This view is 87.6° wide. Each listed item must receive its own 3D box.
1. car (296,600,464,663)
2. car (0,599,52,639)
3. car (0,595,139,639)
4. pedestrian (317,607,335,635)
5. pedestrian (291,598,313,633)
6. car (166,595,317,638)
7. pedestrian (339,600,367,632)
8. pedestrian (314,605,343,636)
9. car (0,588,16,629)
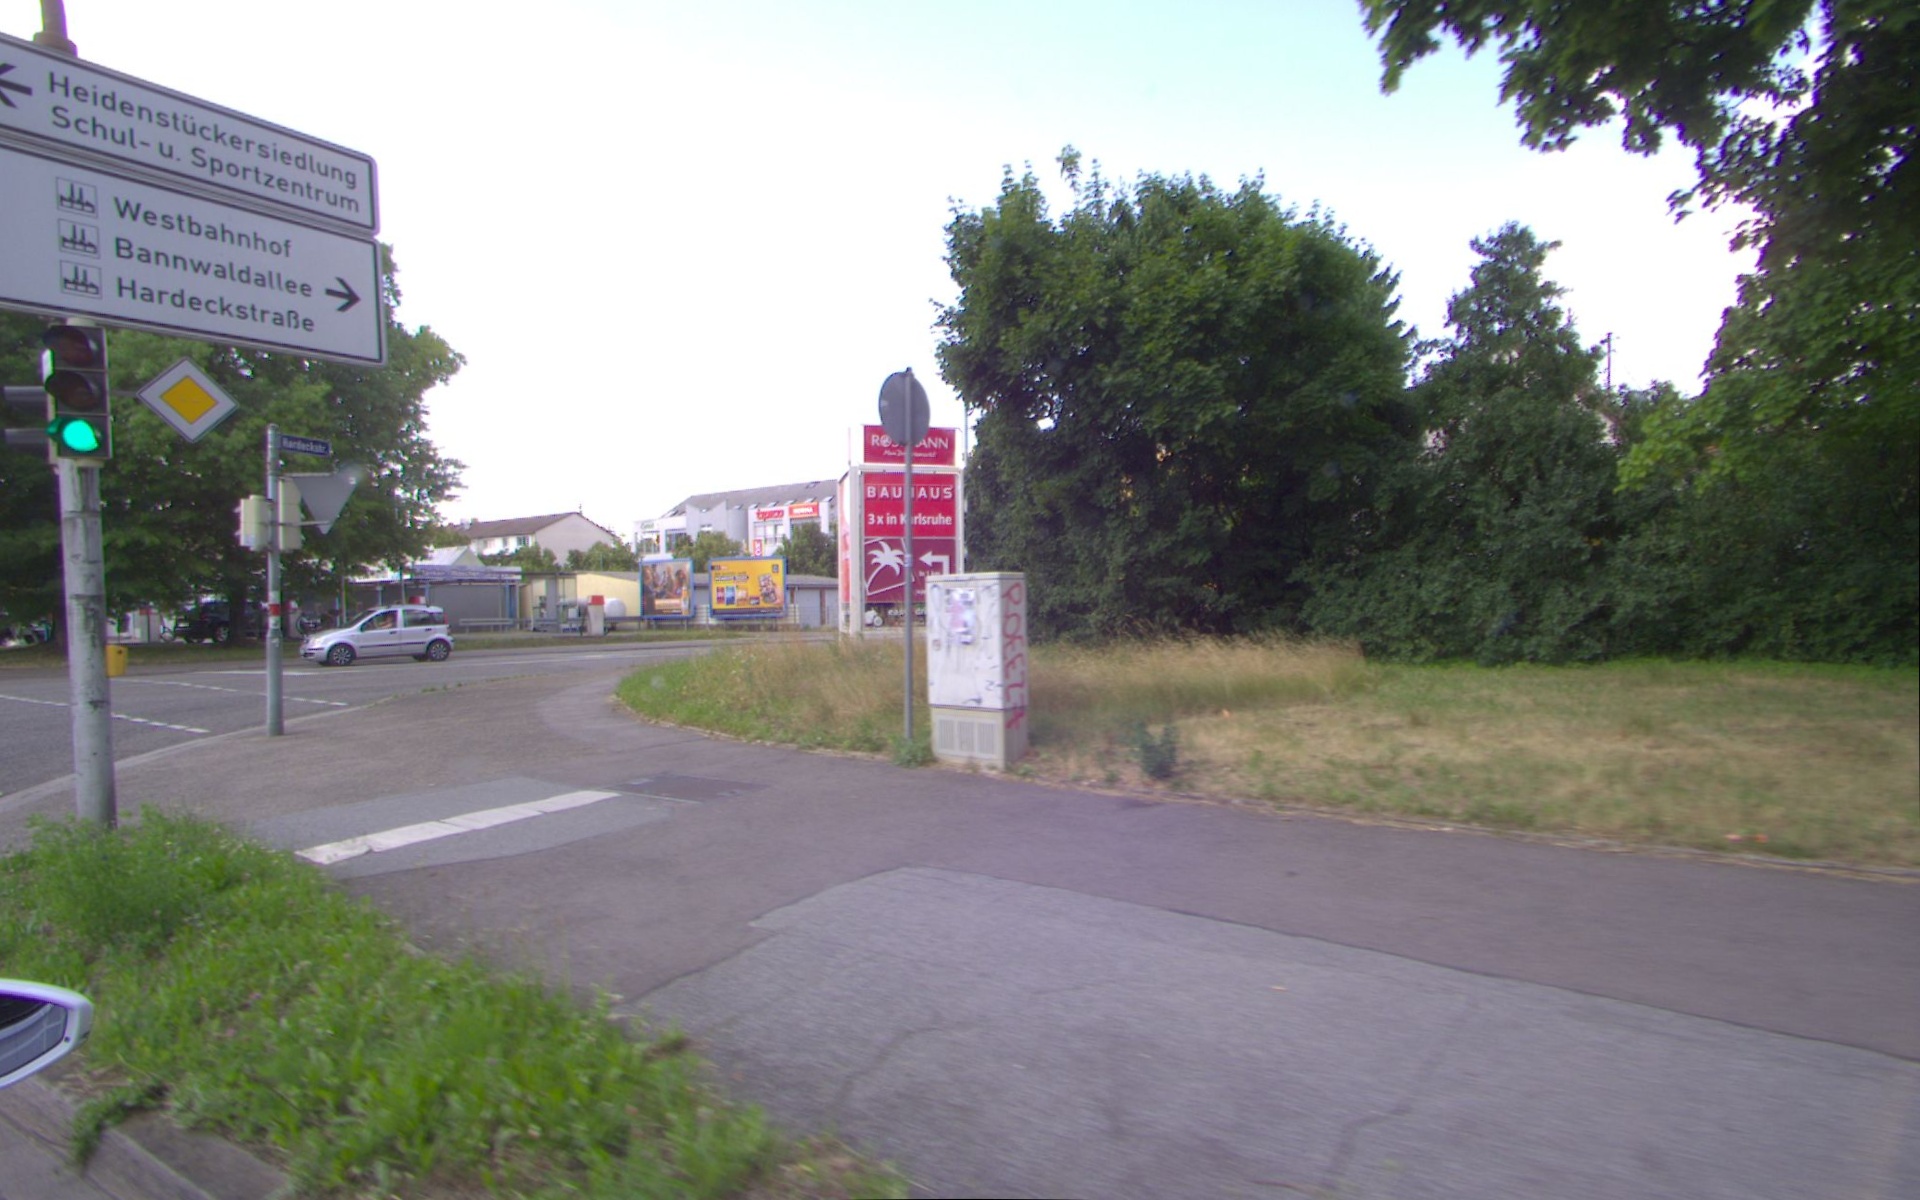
[{"bbox_3d":[-15.330,0.797,26.566,1.543,1.537,3.574,-1,0,45],"label":"car"},{"bbox_3d":[-49.695,1.003,50.612,2.121,2.030,5.174,-1,0,29],"label":"car"},{"bbox_3d":[-40.501,0.715,45.010,2.117,1.851,5.184,-1,0,22],"label":"car"},{"bbox_3d":[-35.900,1.189,56.698,0.616,1.565,0.651,-1,1,39],"label":"pedestrian"},{"bbox_3d":[-28.446,0.676,43.271,0.610,1.514,0.560,-1,-1,25],"label":"pedestrian"},{"bbox_3d":[-29.016,0.646,40.607,2.117,1.617,4.552,-1,0,22],"label":"car"},{"bbox_3d":[-24.092,0.643,39.751,0.752,1.271,0.645,0,-1,-12],"label":"pedestrian"},{"bbox_3d":[-24.951,0.818,39.573,0.752,1.205,0.645,0,-1,-12],"label":"pedestrian"},{"bbox_3d":[-60.734,0.594,62.056,5.666,2.486,1.747,-1,1,31],"label":"car"}]
